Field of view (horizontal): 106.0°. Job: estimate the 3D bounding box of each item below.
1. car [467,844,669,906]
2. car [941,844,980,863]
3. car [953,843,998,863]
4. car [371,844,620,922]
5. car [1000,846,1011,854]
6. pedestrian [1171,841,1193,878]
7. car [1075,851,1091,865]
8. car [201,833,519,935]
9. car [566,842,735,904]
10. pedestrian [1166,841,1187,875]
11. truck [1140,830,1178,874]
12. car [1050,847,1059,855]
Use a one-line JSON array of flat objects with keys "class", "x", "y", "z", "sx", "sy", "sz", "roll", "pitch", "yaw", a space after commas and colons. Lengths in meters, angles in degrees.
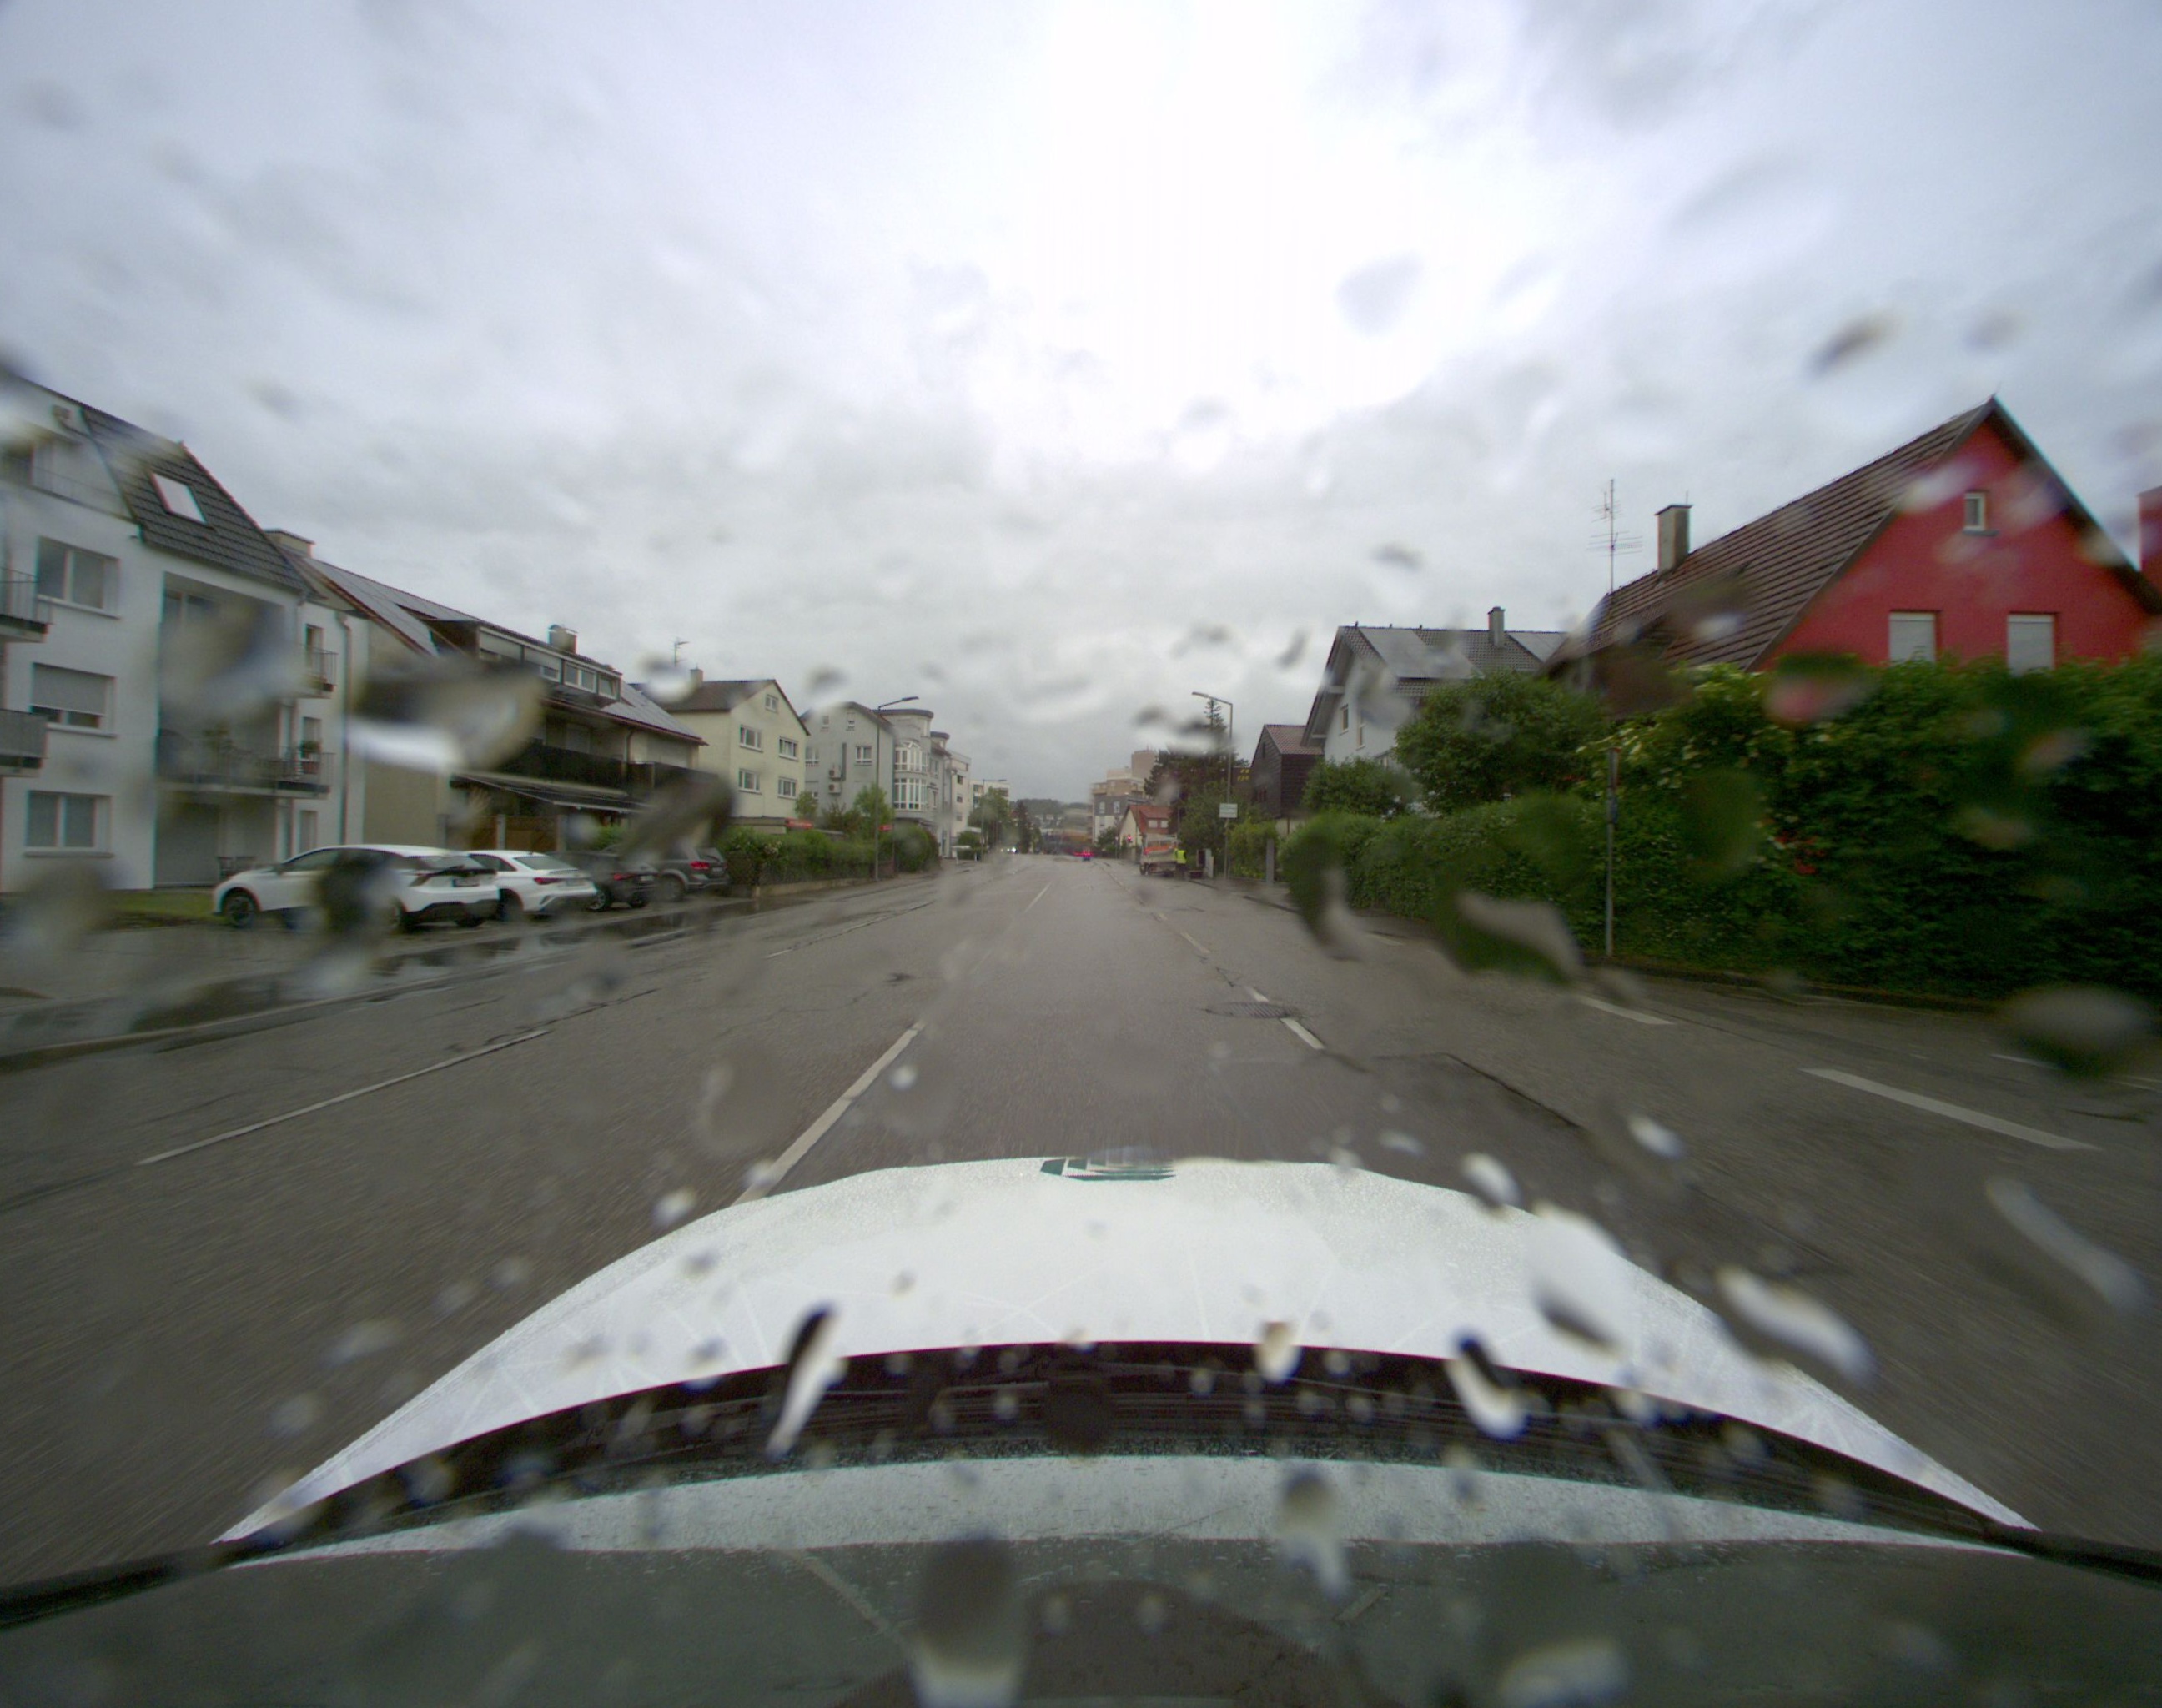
[{"class": "car", "x": -12.454, "y": 0.493, "z": 19.899, "sx": 3.965, "sy": 1.446, "sz": 1.709, "roll": 0, "pitch": -1, "yaw": 7}, {"class": "car", "x": -14.013, "y": -0.086, "z": 94.757, "sx": 3.961, "sy": 2.013, "sz": 2.006, "roll": 2, "pitch": 0, "yaw": 11}, {"class": "car", "x": -11.582, "y": -0.145, "z": 89.525, "sx": 4.489, "sy": 2.013, "sz": 2.008, "roll": 2, "pitch": 0, "yaw": 14}, {"class": "car", "x": -12.416, "y": 0.574, "z": 17.438, "sx": 3.966, "sy": 1.434, "sz": 1.975, "roll": 2, "pitch": 0, "yaw": 6}, {"class": "car", "x": -14.665, "y": -0.763, "z": 158.310, "sx": 1.654, "sy": 1.463, "sz": 4.000, "roll": 5, "pitch": -1, "yaw": 1}, {"class": "pedestrian", "x": 5.024, "y": 0.264, "z": 40.425, "sx": 0.825, "sy": 1.797, "sz": 0.795, "roll": 0, "pitch": 0, "yaw": -18}, {"class": "car", "x": 0.256, "y": 0.444, "z": 100.620, "sx": 1.787, "sy": 1.669, "sz": 4.002, "roll": 0, "pitch": 0, "yaw": 2}, {"class": "car", "x": -12.886, "y": 0.504, "z": 14.732, "sx": 4.079, "sy": 1.585, "sz": 1.959, "roll": 2, "pitch": -1, "yaw": 5}, {"class": "car", "x": -12.251, "y": 0.524, "z": 23.293, "sx": 3.963, "sy": 1.686, "sz": 1.813, "roll": 0, "pitch": -1, "yaw": 9}, {"class": "pedestrian", "x": 4.838, "y": 0.191, "z": 41.346, "sx": 0.825, "sy": 1.726, "sz": 0.836, "roll": 0, "pitch": 0, "yaw": -17}, {"class": "truck", "x": 4.293, "y": -0.096, "z": 45.093, "sx": 1.984, "sy": 2.303, "sz": 4.005, "roll": 0, "pitch": 0, "yaw": 4}, {"class": "car", "x": -5.237, "y": -0.503, "z": 161.591, "sx": 1.573, "sy": 1.438, "sz": 4.000, "roll": 5, "pitch": -1, "yaw": 1}]
